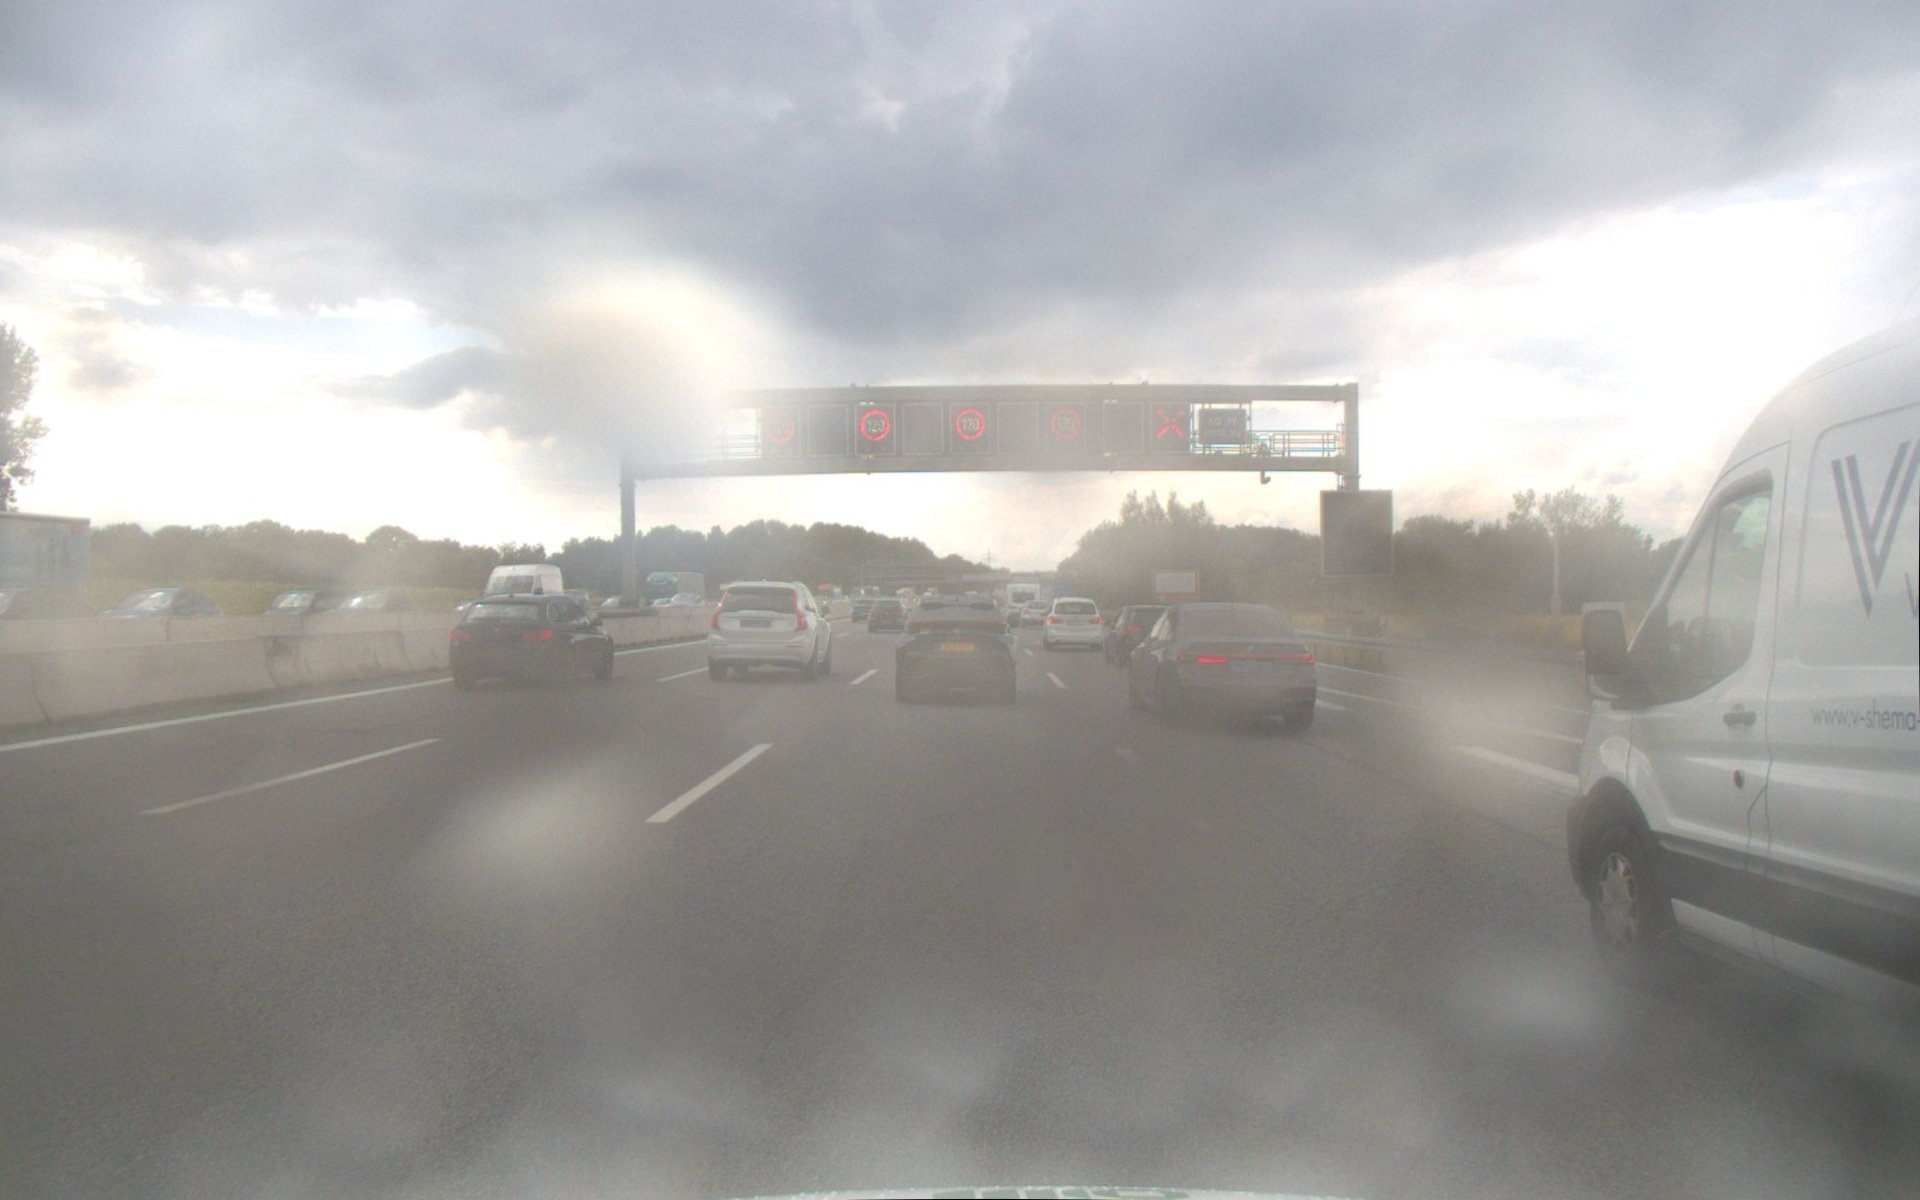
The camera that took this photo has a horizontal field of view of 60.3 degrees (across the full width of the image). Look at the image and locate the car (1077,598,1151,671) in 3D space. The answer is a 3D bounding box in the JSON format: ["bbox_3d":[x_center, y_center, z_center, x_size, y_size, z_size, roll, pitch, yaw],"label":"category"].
[{"bbox_3d":[3.696,0.800,40.268,1.671,1.659,4.459,1,0,4],"label":"car"}]

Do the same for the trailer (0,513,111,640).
[{"bbox_3d":[-28.609,-0.681,45.500,3.046,3.569,14.451,1,0,0],"label":"trailer"}]

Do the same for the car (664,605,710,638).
[{"bbox_3d":[-16.380,1.263,99.515,1.953,1.918,5.186,1,0,0],"label":"car"}]

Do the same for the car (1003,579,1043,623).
[{"bbox_3d":[4.375,0.052,115.519,2.514,2.946,7.533,1,0,0],"label":"car"}]

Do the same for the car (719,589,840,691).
[{"bbox_3d":[-3.286,0.697,30.790,1.744,1.746,4.352,1,0,0],"label":"car"}]

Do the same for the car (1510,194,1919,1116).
[{"bbox_3d":[3.705,0.159,5.322,2.096,2.544,5.448,1,0,0],"label":"car"}]

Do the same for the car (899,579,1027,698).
[{"bbox_3d":[-0.046,0.546,25.470,1.745,1.641,4.595,1,0,-3],"label":"car"}]

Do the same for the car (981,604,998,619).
[{"bbox_3d":[3.423,1.323,193.366,1.843,1.715,3.999,1,0,-1],"label":"car"}]

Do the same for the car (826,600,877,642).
[{"bbox_3d":[-4.524,0.857,69.347,1.842,1.715,4.000,0,0,0],"label":"car"}]

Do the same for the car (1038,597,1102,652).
[{"bbox_3d":[3.444,0.746,52.367,1.773,1.627,4.696,1,0,1],"label":"car"}]

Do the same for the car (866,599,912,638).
[{"bbox_3d":[-3.153,0.812,74.072,1.842,1.715,4.000,1,0,0],"label":"car"}]

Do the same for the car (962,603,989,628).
[{"bbox_3d":[1.039,1.054,115.985,1.842,1.715,4.000,1,0,0],"label":"car"}]

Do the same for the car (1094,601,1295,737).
[{"bbox_3d":[2.861,0.793,21.191,1.900,1.517,4.775,1,0,0],"label":"car"}]

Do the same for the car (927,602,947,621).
[{"bbox_3d":[-2.112,1.096,152.706,1.842,1.715,4.000,1,0,0],"label":"car"}]

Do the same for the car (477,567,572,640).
[{"bbox_3d":[-16.645,0.146,63.561,1.953,2.662,6.342,1,0,0],"label":"car"}]

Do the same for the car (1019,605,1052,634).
[{"bbox_3d":[4.097,1.053,90.675,1.758,1.503,4.038,1,0,2],"label":"car"}]

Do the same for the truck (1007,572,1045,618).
[{"bbox_3d":[5.535,-0.380,140.665,3.068,3.774,9.849,1,0,2],"label":"truck"}]

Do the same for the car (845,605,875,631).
[{"bbox_3d":[-6.172,1.099,102.343,1.531,1.503,3.919,1,0,0],"label":"car"}]

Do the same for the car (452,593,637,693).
[{"bbox_3d":[-6.779,0.671,27.459,1.743,1.507,4.354,1,0,3],"label":"car"}]
